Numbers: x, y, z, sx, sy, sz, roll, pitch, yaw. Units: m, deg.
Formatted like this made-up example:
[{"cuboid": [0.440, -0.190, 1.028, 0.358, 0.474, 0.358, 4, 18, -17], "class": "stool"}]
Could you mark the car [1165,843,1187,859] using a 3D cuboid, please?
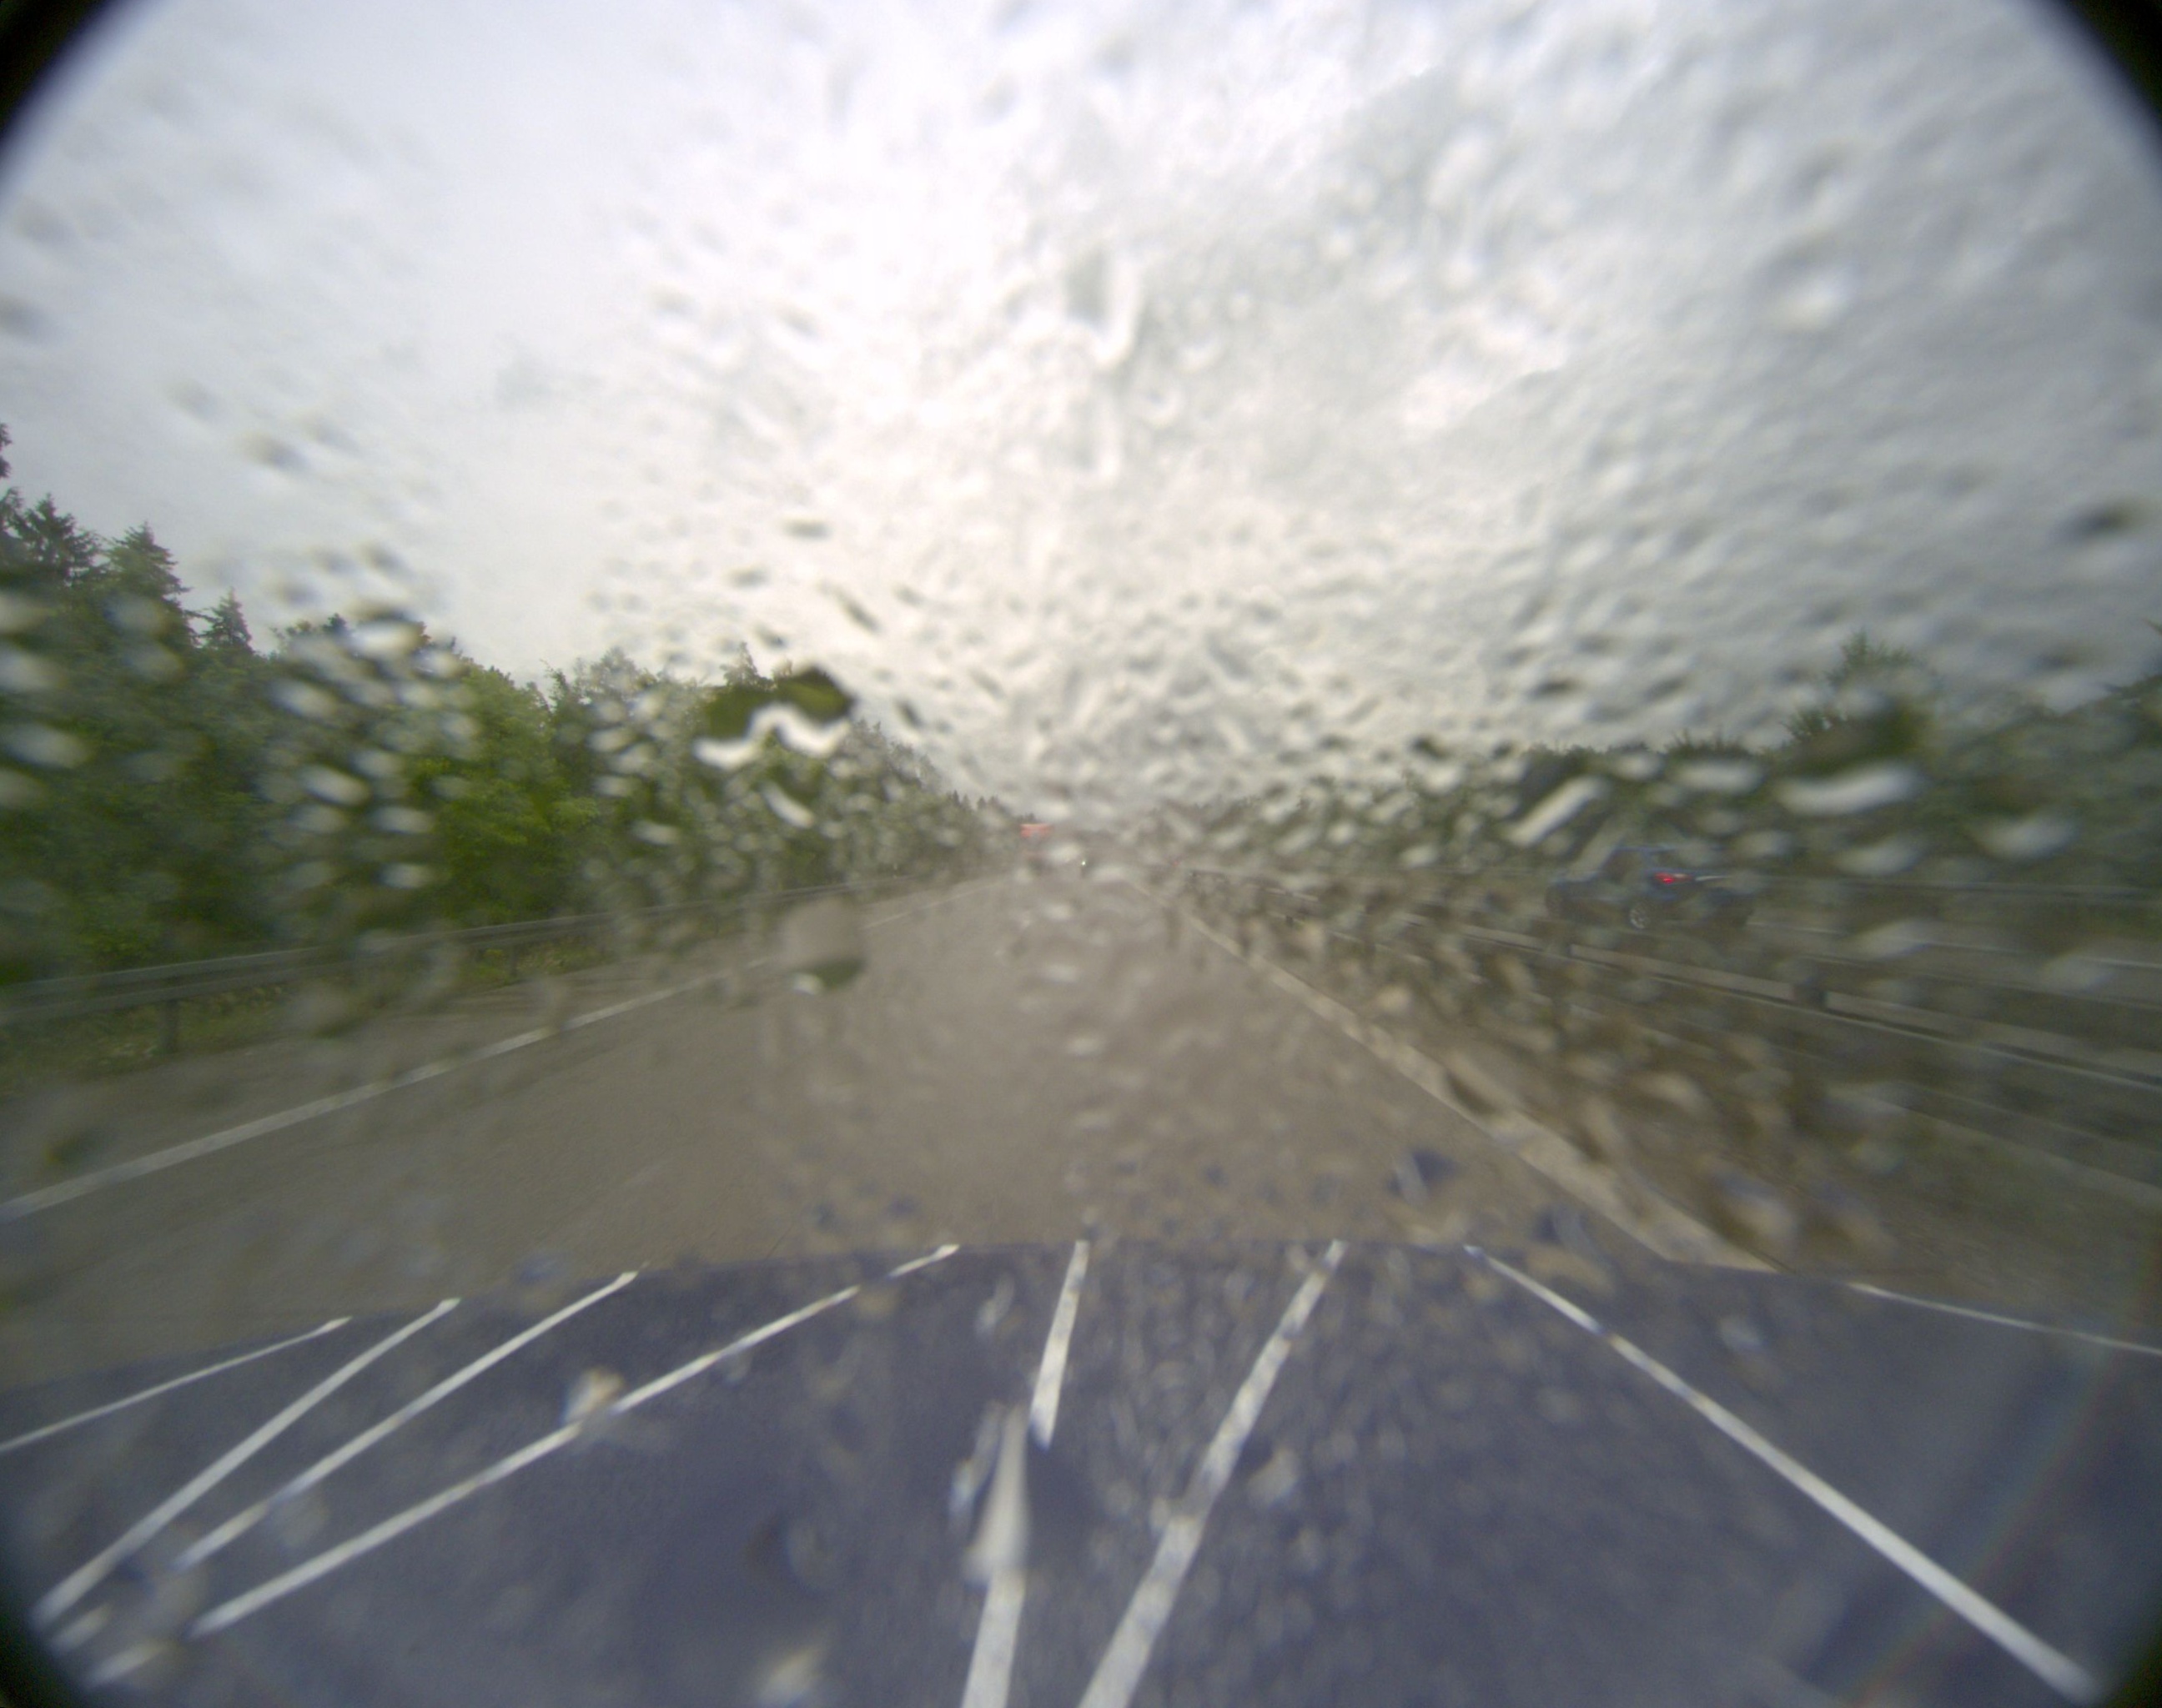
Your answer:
[{"cuboid": [12.031, -0.347, 96.491, 1.999, 2.052, 5.313, 1, 0, 0], "class": "car"}]

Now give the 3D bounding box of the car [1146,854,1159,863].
[{"cuboid": [11.559, 0.695, 122.997, 1.754, 1.426, 3.918, 1, 0, 0], "class": "car"}]

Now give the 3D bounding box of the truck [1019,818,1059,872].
[{"cuboid": [-3.280, -0.636, 60.510, 2.766, 4.064, 5.437, 1, 0, 0], "class": "truck"}]

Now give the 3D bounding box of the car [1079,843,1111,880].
[{"cuboid": [0.828, 0.470, 46.259, 1.795, 2.113, 4.524, 1, 0, 0], "class": "car"}]

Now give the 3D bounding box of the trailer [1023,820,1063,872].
[{"cuboid": [-3.224, -0.614, 67.501, 2.802, 4.132, 13.005, 1, 0, 0], "class": "trailer"}]

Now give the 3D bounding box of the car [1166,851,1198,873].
[{"cuboid": [7.670, 0.584, 57.963, 1.832, 1.491, 4.021, -2, 1, 0], "class": "car"}]

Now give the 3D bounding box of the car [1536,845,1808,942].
[{"cuboid": [10.977, 0.625, 14.585, 1.906, 1.491, 4.220, -2, 1, 0], "class": "car"}]
